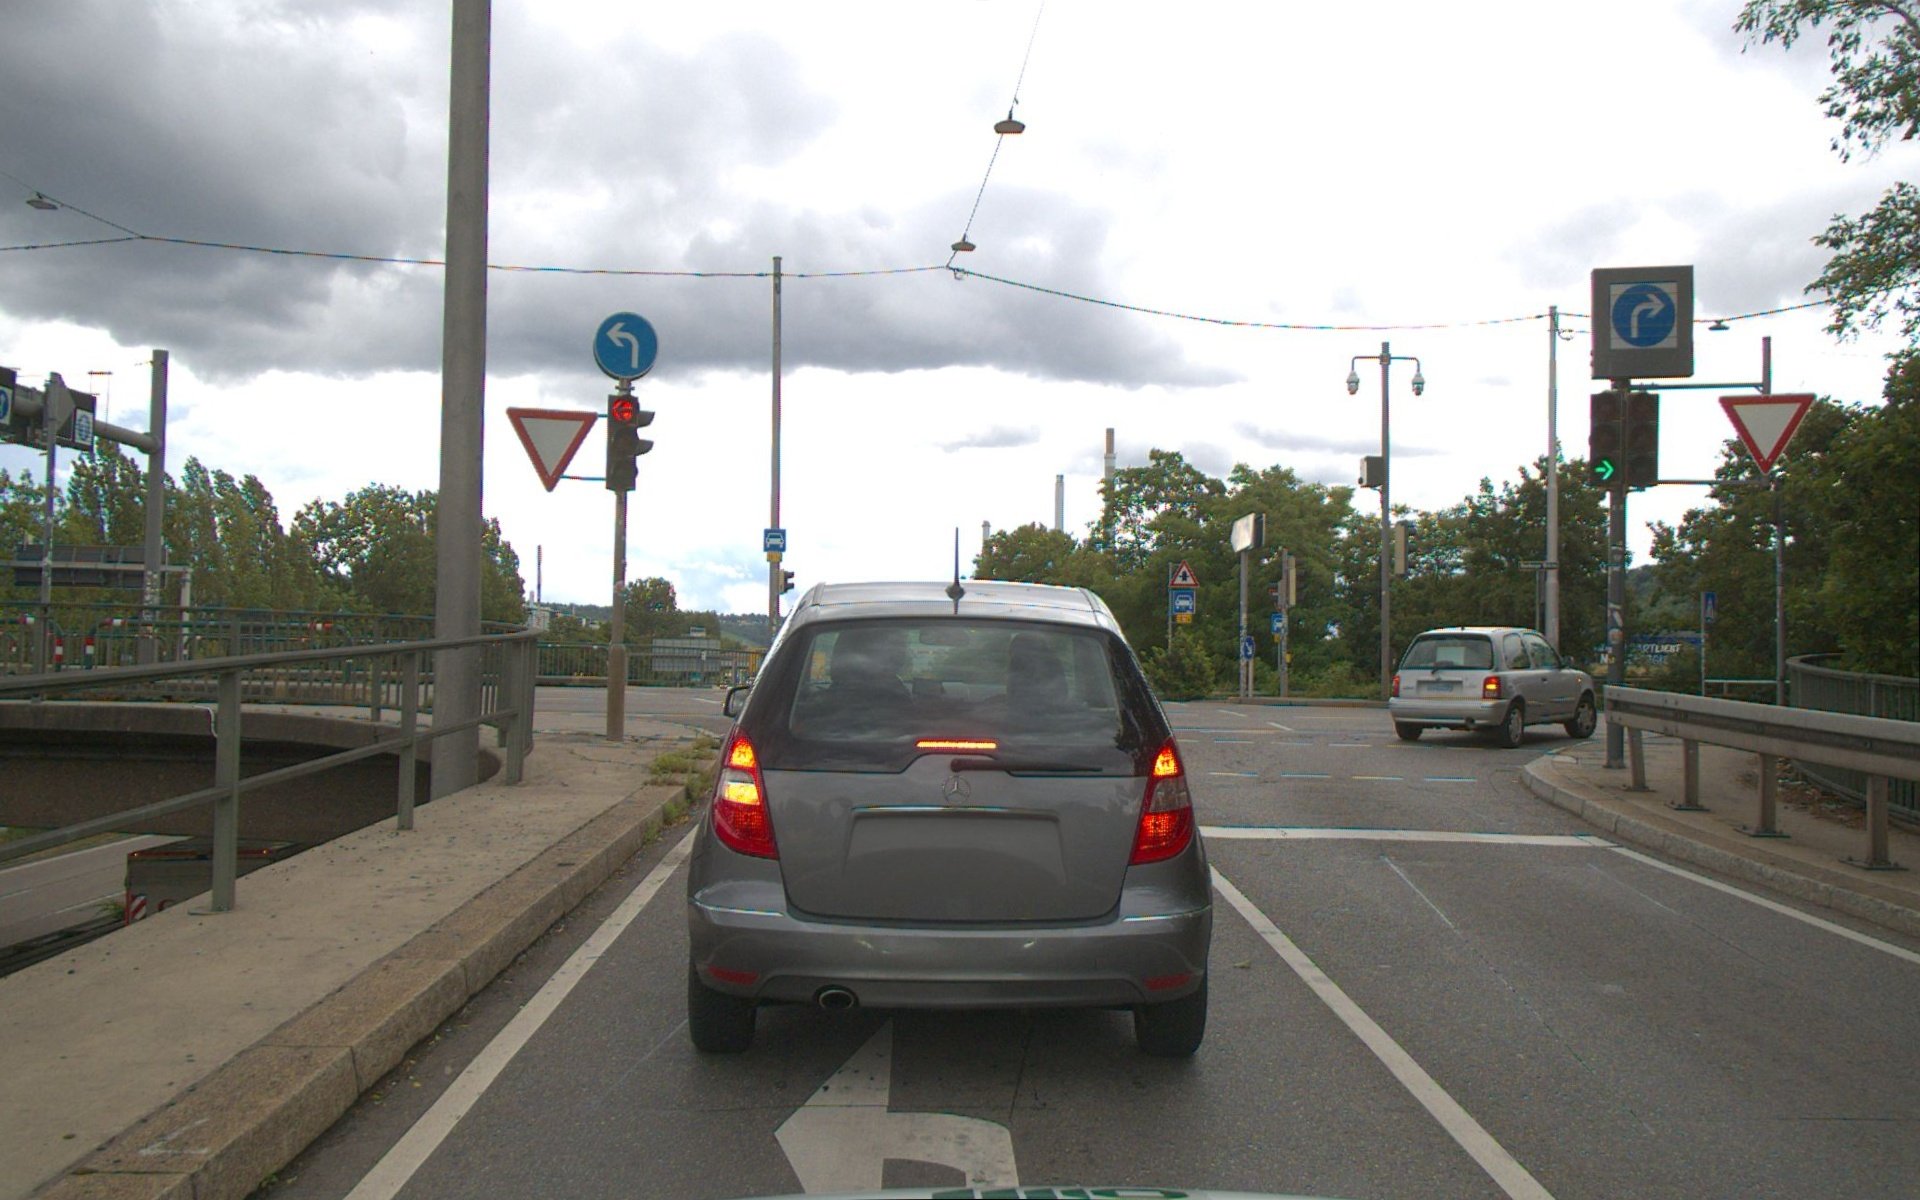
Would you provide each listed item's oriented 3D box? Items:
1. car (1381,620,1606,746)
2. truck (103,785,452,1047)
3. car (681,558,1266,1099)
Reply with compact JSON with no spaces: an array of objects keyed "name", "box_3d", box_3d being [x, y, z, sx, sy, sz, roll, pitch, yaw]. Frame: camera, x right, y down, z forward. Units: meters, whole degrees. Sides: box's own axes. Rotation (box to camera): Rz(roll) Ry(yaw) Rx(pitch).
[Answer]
[{"name":"car","box_3d":[6.903,0.998,21.243,1.561,1.457,3.423,0,0,41]},{"name":"truck","box_3d":[-13.034,5.869,32.821,2.823,3.587,9.869,-2,-2,0]},{"name":"car","box_3d":[0.024,0.682,6.647,1.704,1.570,3.540,1,0,-1]}]
